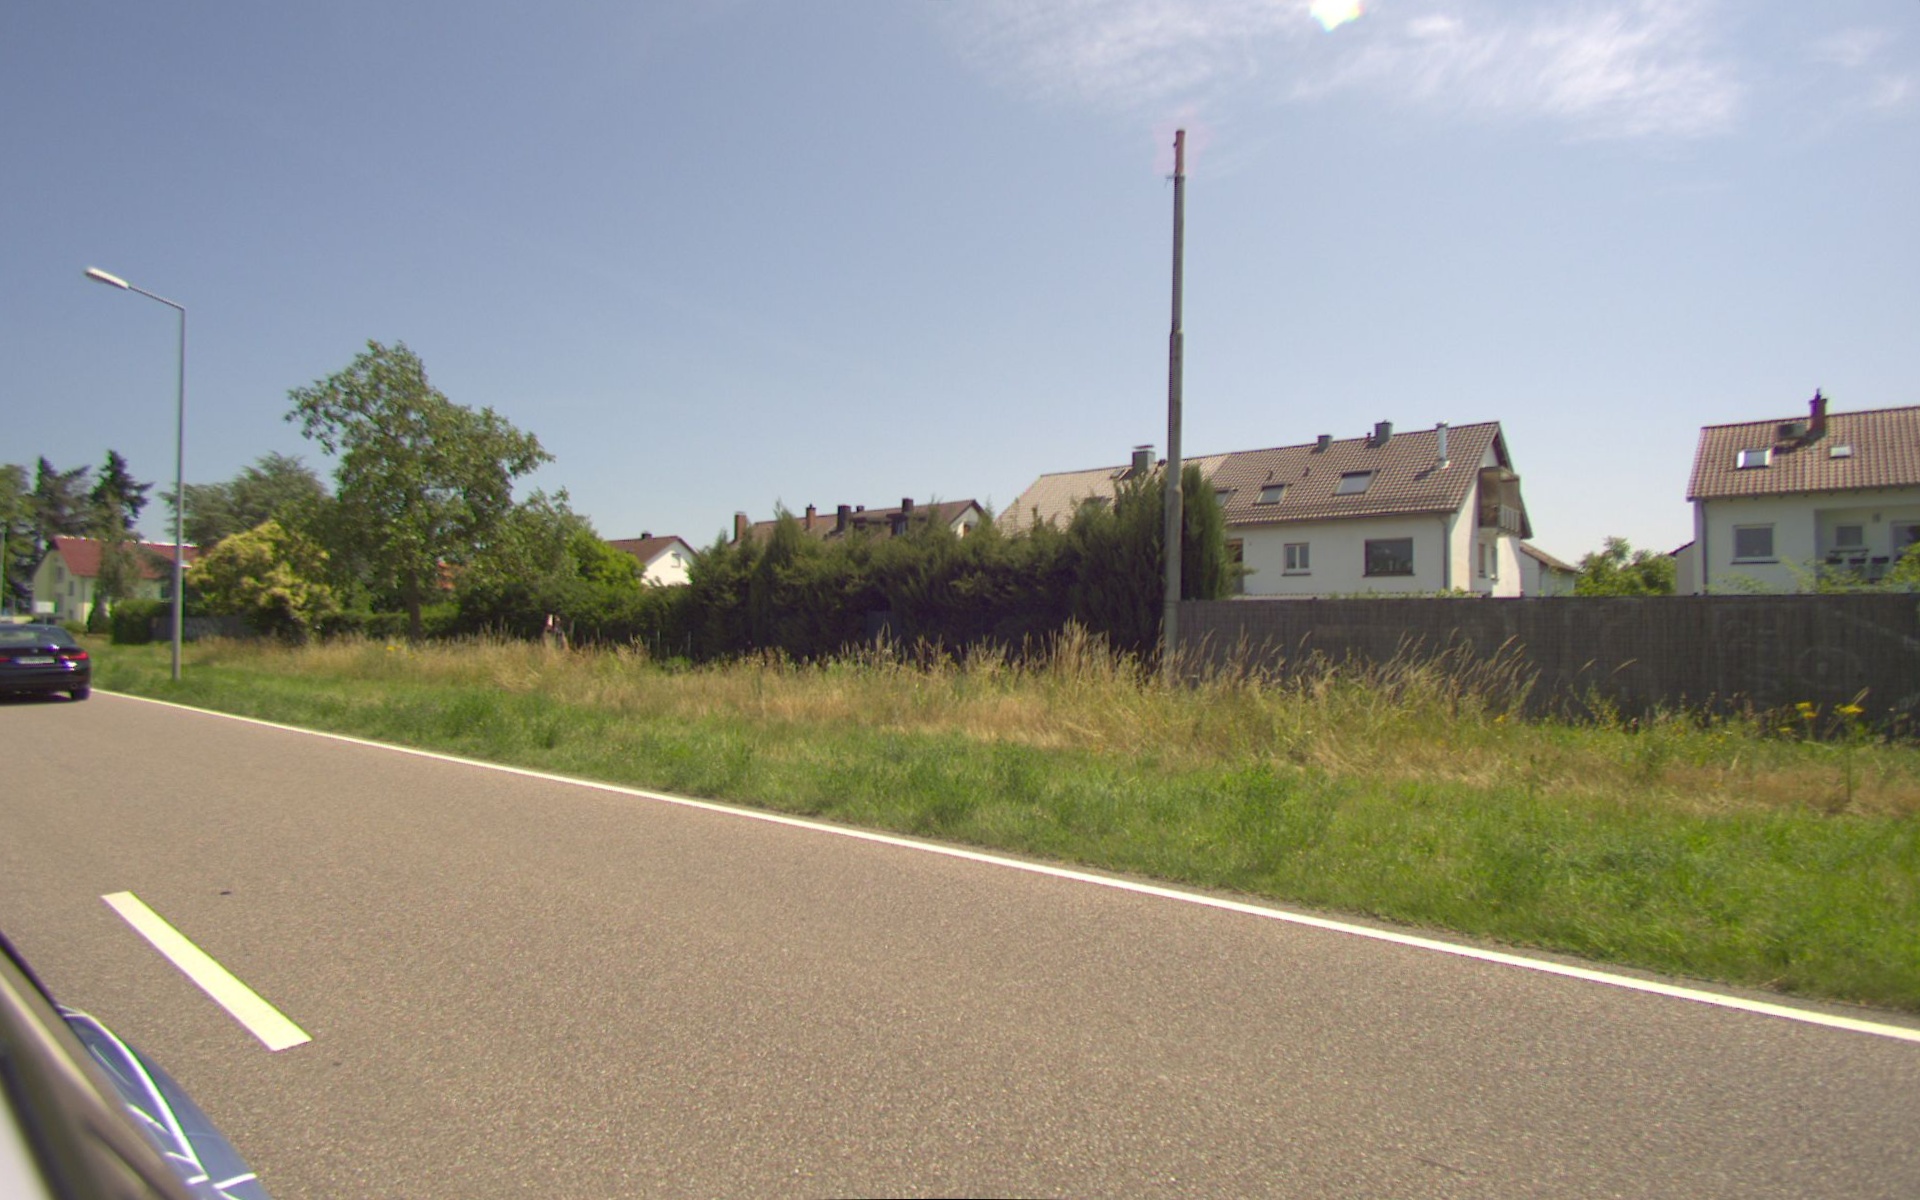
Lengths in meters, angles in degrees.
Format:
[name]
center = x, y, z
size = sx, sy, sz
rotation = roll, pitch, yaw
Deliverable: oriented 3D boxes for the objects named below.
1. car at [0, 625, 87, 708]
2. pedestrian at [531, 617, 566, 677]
[car]
center = -18.262, 1.198, 19.368
size = 4.704, 1.415, 1.689
rotation = -1, -1, 41
[pedestrian]
center = -10.494, 1.181, 25.830
size = 0.633, 1.489, 0.603
rotation = -1, -1, 40
